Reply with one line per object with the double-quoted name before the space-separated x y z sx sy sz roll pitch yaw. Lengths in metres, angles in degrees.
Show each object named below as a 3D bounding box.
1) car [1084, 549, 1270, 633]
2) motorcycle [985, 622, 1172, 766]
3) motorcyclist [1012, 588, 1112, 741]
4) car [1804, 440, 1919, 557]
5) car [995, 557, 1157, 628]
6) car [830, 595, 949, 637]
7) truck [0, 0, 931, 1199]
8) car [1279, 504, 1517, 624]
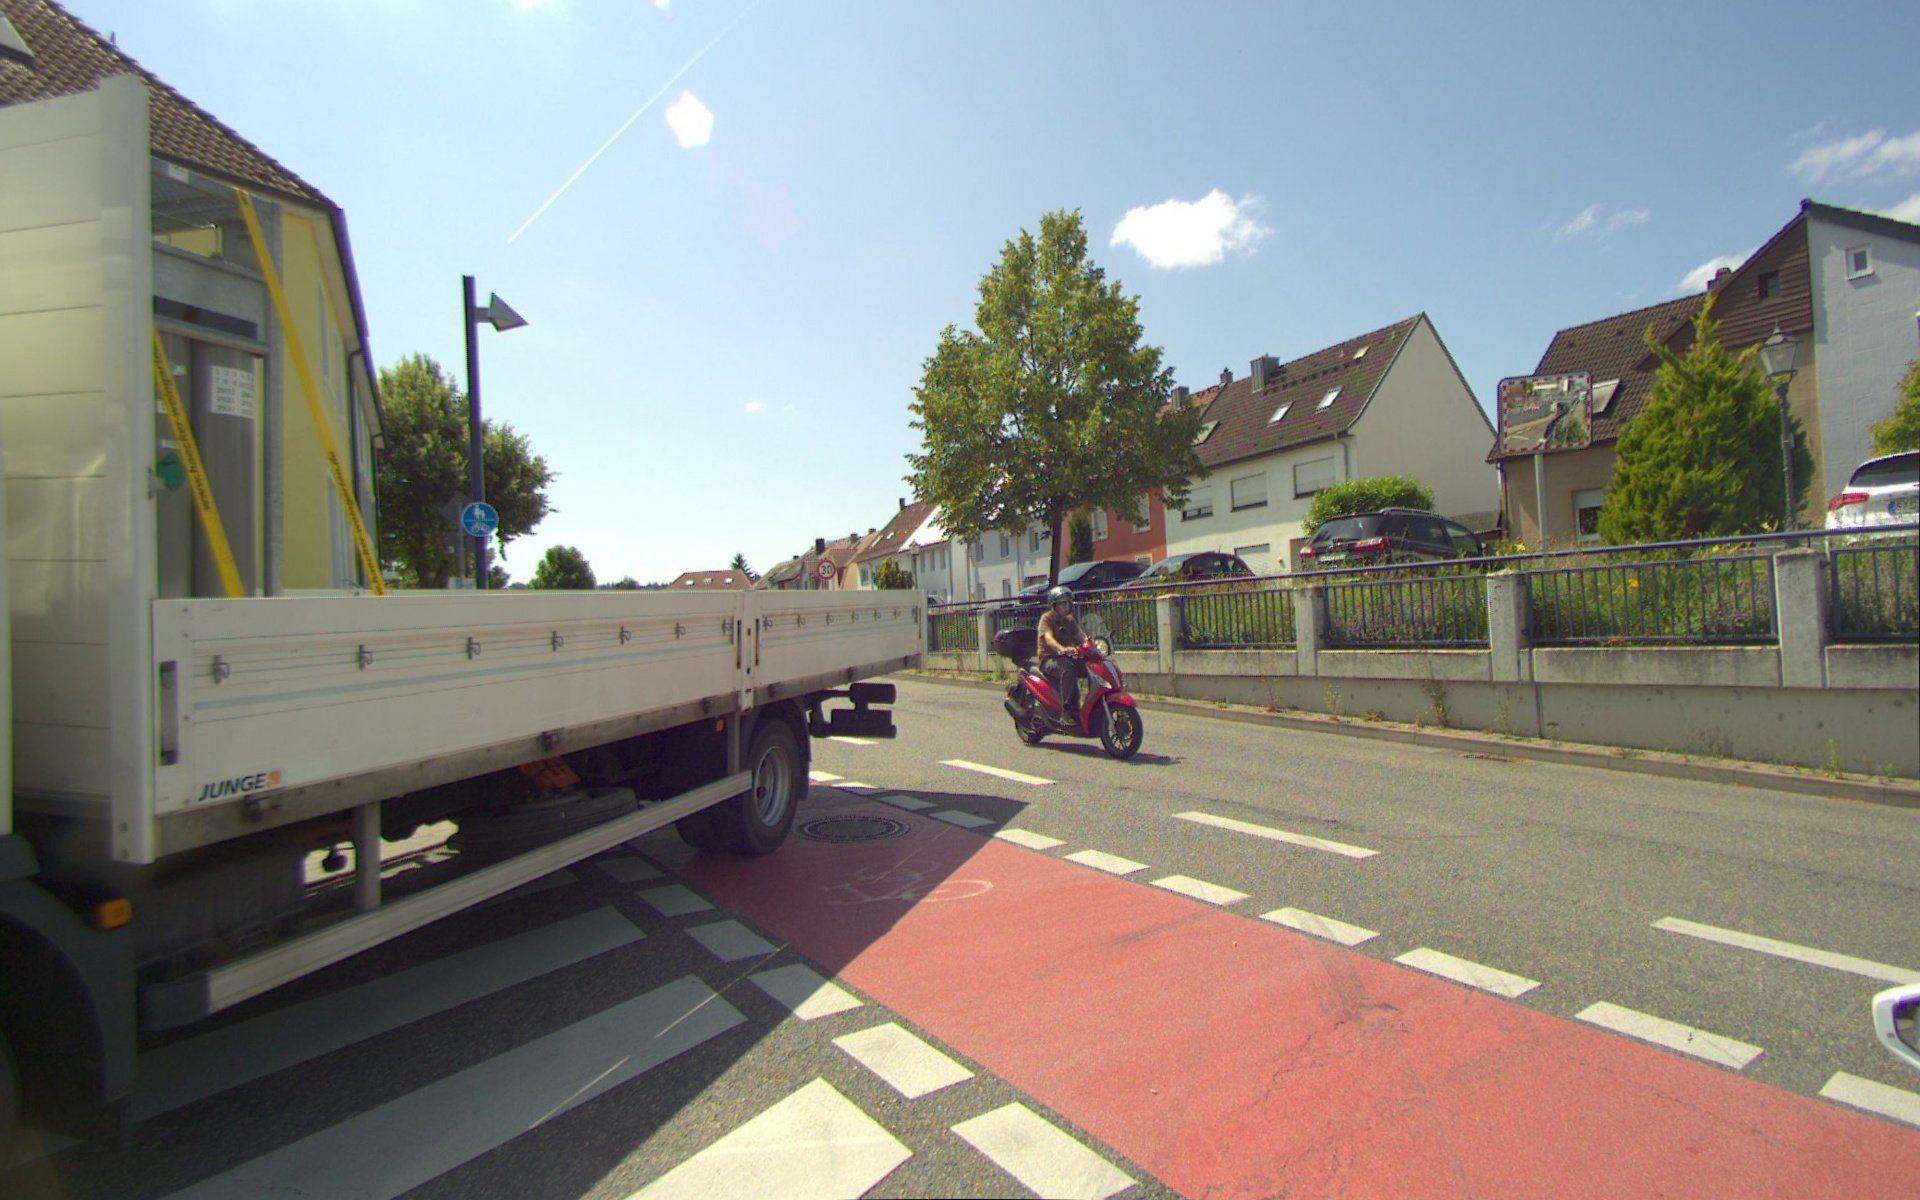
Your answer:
"car" 4.582 -0.182 21.086 3.571 1.608 1.856 0 1 -34
"motorcycle" 1.171 0.900 10.460 0.721 1.309 2.124 1 0 -34
"motorcyclist" 1.066 0.647 10.530 0.721 1.521 0.763 1 0 -35
"car" 10.892 -1.049 10.862 3.423 1.033 1.814 0 1 -34
"car" 2.847 -0.166 24.473 3.571 1.608 1.856 0 1 -34
"car" -2.680 0.600 38.300 4.201 1.508 1.735 0 1 -27
"truck" -2.474 -0.003 4.866 2.565 2.915 8.076 0 0 14
"car" 7.466 -0.546 17.041 3.958 1.821 1.856 0 1 -34
